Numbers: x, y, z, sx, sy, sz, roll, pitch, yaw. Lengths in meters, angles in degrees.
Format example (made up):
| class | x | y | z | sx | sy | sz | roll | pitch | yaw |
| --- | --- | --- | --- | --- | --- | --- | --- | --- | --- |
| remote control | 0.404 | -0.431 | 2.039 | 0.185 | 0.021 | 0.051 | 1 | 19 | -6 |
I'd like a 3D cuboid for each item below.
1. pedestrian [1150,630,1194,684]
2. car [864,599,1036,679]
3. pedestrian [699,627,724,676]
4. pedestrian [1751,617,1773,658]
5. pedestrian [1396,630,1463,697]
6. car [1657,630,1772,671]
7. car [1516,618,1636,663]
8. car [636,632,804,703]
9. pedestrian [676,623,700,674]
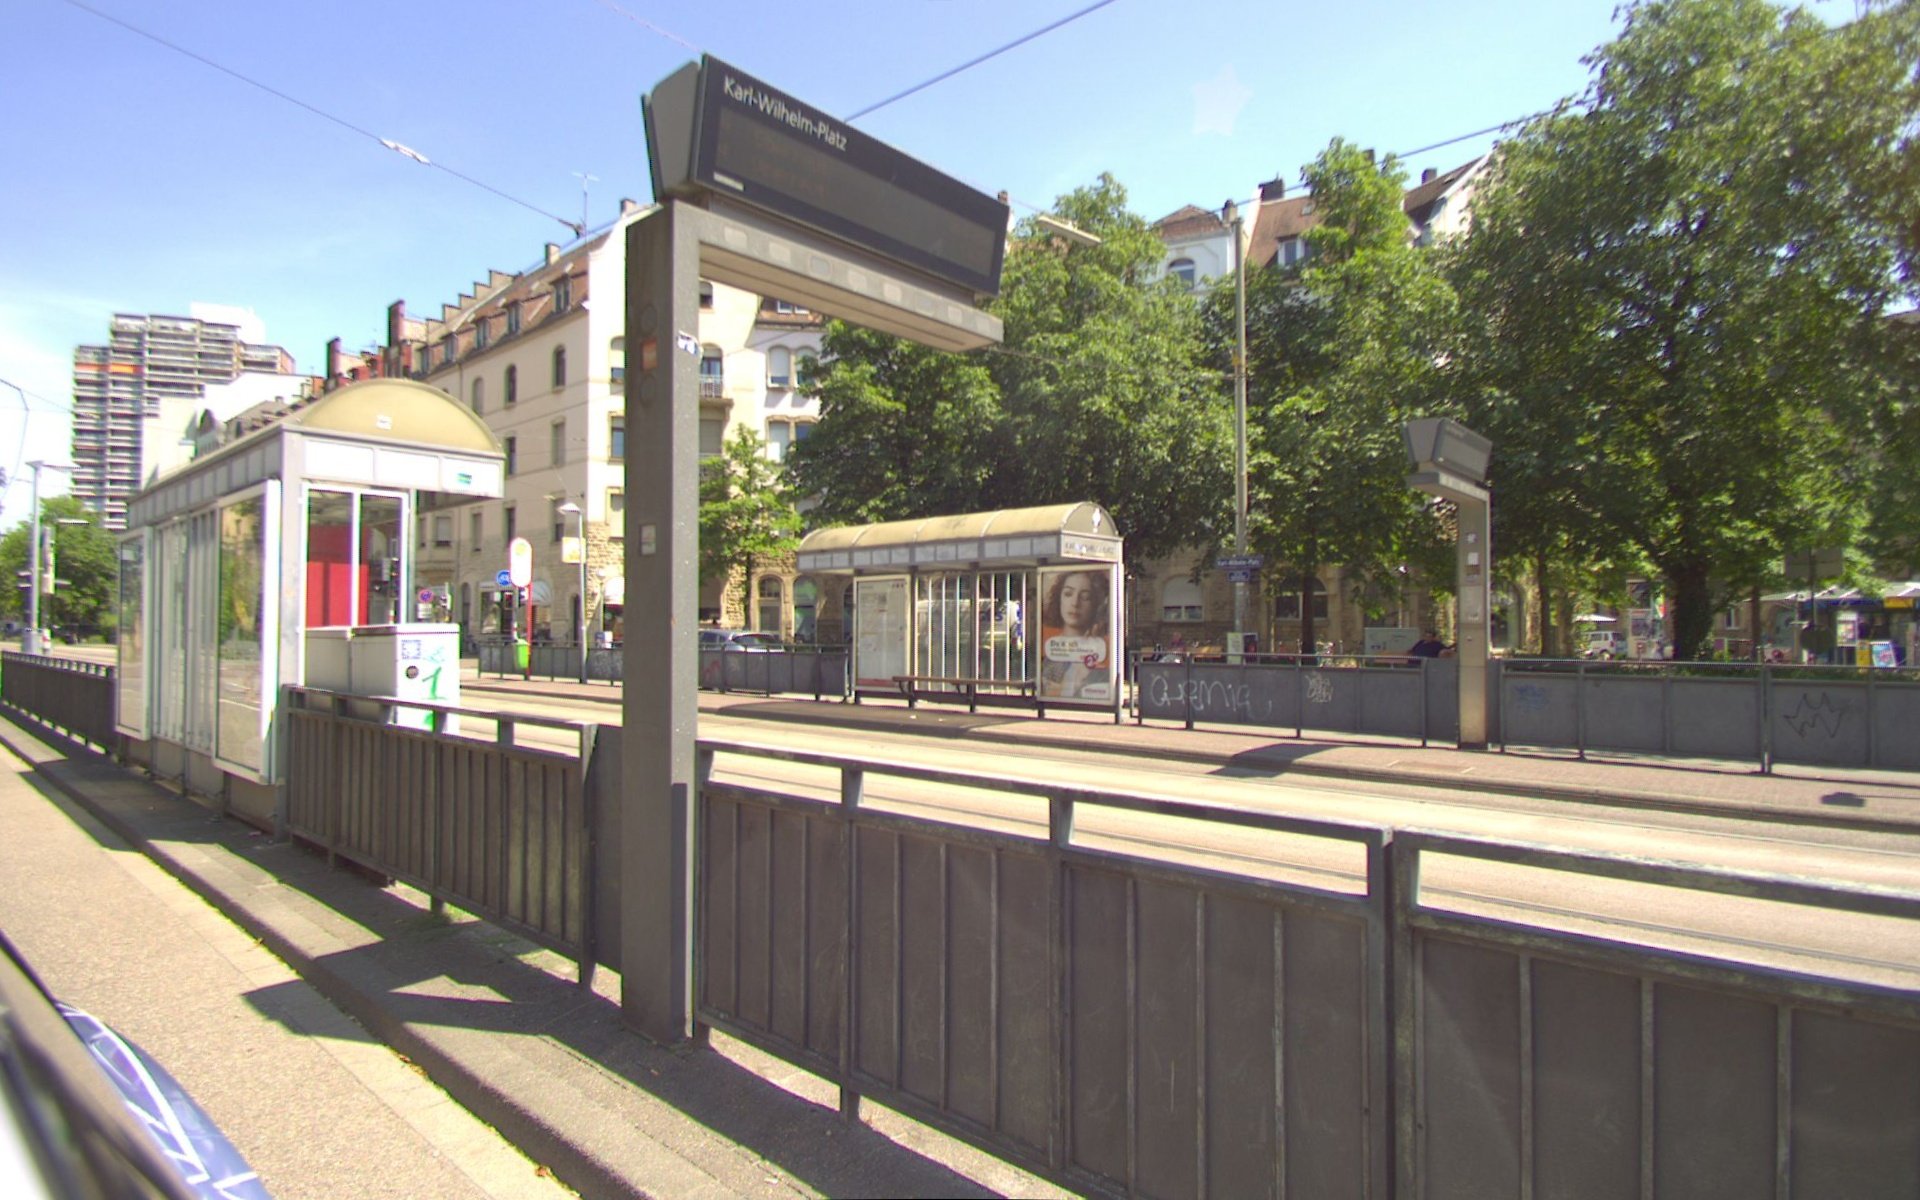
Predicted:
| class | x | y | z | sx | sy | sz | roll | pitch | yaw |
| --- | --- | --- | --- | --- | --- | --- | --- | --- | --- |
| pedestrian | 5.098 | 1.354 | 24.311 | 0.930 | 1.253 | 0.860 | -1 | 0 | 17 |
| car | -0.330 | 1.368 | 36.068 | 5.770 | 2.693 | 2.265 | -1 | 0 | 13 |
| pedestrian | -7.978 | 1.657 | 32.490 | 0.473 | 1.563 | 0.586 | -2 | -3 | 39 |
| pedestrian | 32.823 | 1.524 | 41.427 | 0.483 | 1.683 | 0.517 | 1 | -2 | -27 |
| pedestrian | 9.288 | 1.238 | 20.036 | 0.852 | 1.253 | 0.939 | -1 | 0 | -43 |
| car | 35.792 | 2.348 | 48.098 | 1.736 | 1.721 | 3.998 | -1 | 0 | -33 |
| car | 26.723 | 1.703 | 44.005 | 1.966 | 1.803 | 4.011 | -1 | 0 | -33 |
| car | -5.593 | 1.487 | 23.356 | 3.998 | 1.404 | 1.789 | -1 | 0 | 41 |
| pedestrian | -8.871 | 1.570 | 33.053 | 0.473 | 1.659 | 0.586 | -2 | -3 | 41 |
